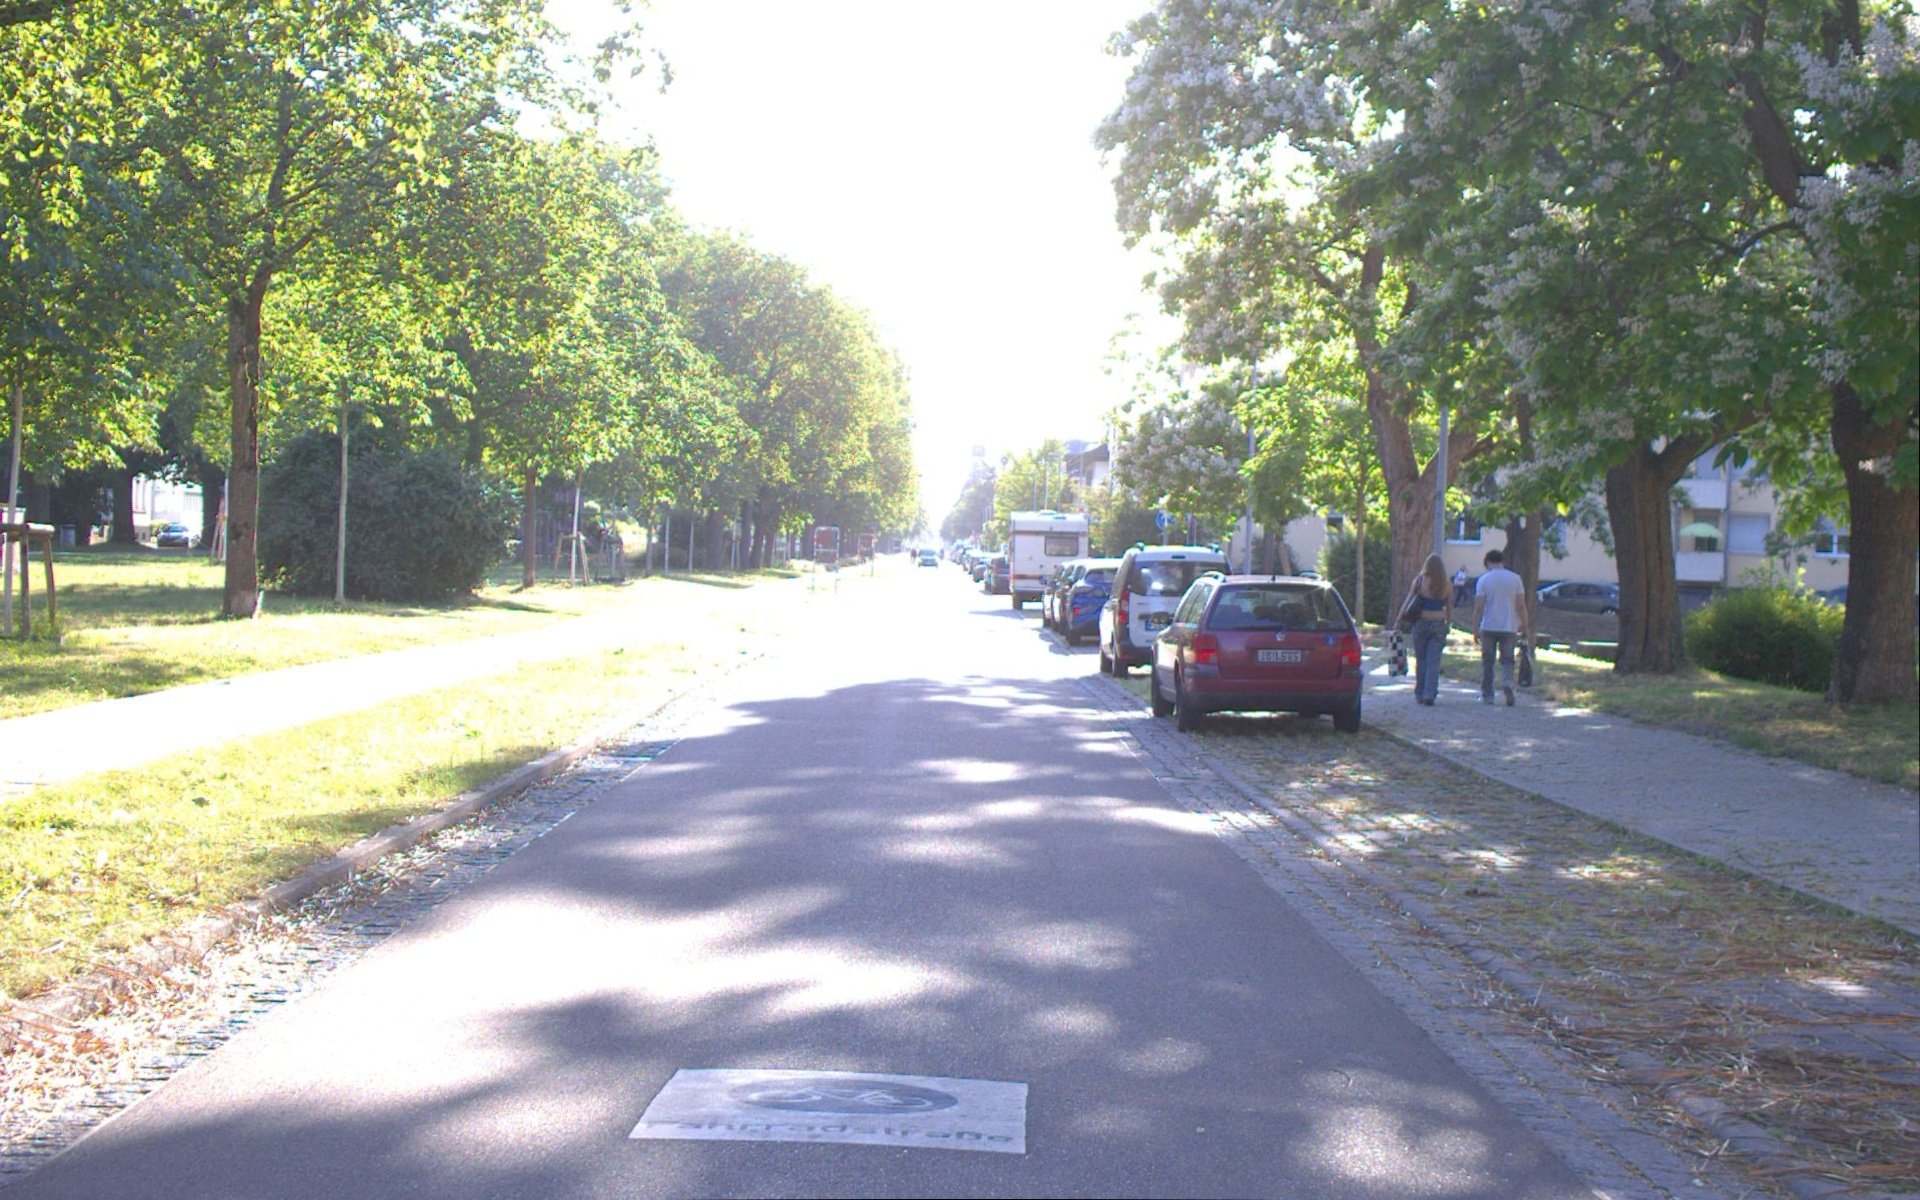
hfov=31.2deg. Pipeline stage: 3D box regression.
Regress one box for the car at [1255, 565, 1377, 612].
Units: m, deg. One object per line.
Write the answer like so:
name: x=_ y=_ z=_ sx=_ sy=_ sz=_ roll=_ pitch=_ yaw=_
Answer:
car: x=12.651 y=-0.399 z=122.324 sx=4.195 sy=1.525 sz=2.000 roll=2 pitch=0 yaw=4

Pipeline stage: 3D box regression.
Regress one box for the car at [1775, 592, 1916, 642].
car: x=30.430 y=0.575 z=118.168 sx=4.515 sy=1.564 sz=1.879 roll=2 pitch=0 yaw=19

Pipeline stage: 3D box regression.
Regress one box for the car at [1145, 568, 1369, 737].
car: x=2.835 y=0.465 z=33.678 sx=1.678 sy=1.481 sz=4.810 roll=2 pitch=0 yaw=-1

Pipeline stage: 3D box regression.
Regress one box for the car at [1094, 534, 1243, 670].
car: x=2.835 y=0.008 z=47.508 sx=1.678 sy=1.734 sz=4.514 roll=2 pitch=0 yaw=-1

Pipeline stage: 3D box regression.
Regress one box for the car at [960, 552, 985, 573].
car: x=0.878 y=-2.633 z=242.690 sx=1.626 sy=1.405 sz=4.249 roll=2 pitch=0 yaw=-1

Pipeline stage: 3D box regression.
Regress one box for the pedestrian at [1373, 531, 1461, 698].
pedestrian: x=4.896 y=0.146 z=36.857 sx=0.753 sy=1.730 sz=0.732 roll=3 pitch=1 yaw=0

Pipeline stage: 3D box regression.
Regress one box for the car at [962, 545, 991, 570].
car: x=1.005 y=-2.552 z=206.693 sx=1.626 sy=1.405 sz=4.249 roll=2 pitch=0 yaw=-1

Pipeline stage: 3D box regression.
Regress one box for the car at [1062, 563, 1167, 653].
car: x=2.798 y=0.130 z=62.929 sx=1.732 sy=1.545 sz=4.275 roll=2 pitch=0 yaw=1

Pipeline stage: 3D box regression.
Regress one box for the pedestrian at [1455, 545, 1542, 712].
pedestrian: x=5.775 y=0.297 z=36.880 sx=0.725 sy=1.730 sz=0.732 roll=3 pitch=1 yaw=0

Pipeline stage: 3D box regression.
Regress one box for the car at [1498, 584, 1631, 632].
car: x=20.188 y=0.269 z=114.848 sx=4.198 sy=1.458 sz=1.692 roll=2 pitch=0 yaw=15

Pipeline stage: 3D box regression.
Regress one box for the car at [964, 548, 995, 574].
car: x=1.086 y=-2.238 z=195.684 sx=1.626 sy=1.405 sz=4.249 roll=2 pitch=0 yaw=-1

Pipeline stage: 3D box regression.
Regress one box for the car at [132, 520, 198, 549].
car: x=-44.515 y=-3.671 z=192.609 sx=2.507 sy=1.503 sz=4.912 roll=2 pitch=0 yaw=1

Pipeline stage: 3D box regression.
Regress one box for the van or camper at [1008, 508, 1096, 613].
van or camper: x=2.650 y=-1.108 z=100.448 sx=2.234 sy=2.894 sz=5.673 roll=2 pitch=-1 yaw=-1
